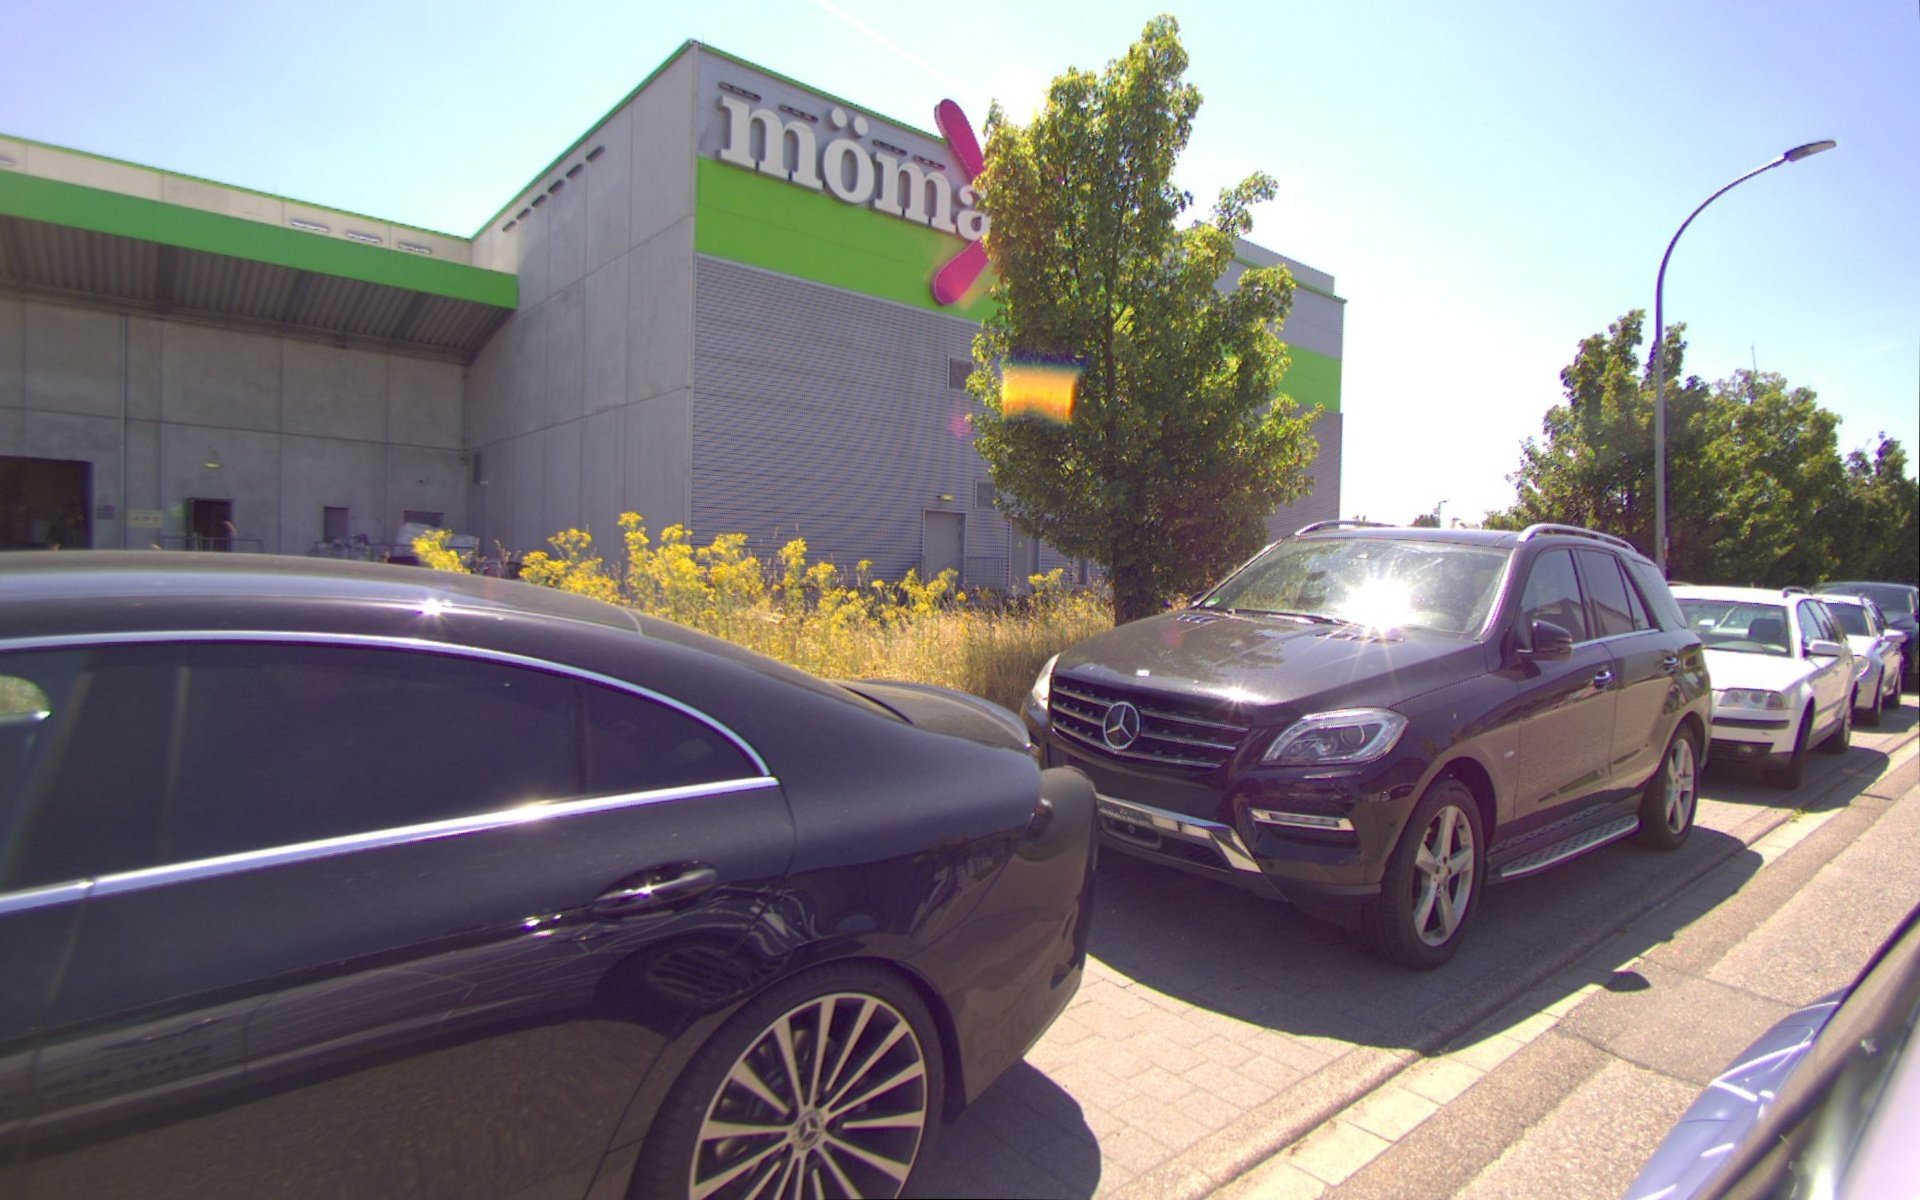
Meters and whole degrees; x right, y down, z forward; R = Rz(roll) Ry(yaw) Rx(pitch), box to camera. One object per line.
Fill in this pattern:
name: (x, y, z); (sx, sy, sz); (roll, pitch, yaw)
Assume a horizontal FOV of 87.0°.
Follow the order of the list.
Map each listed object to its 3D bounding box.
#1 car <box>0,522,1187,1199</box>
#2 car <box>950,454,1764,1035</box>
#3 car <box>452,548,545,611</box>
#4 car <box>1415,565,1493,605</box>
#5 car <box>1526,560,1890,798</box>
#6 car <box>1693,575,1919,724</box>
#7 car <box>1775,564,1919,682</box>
car: (-1.802, 0.578, 1.720); (4.752, 1.400, 1.702); (-1, 4, -40)
car: (2.362, 0.383, 5.231); (4.688, 1.746, 1.816); (0, 4, -40)
car: (-12.295, -0.581, 26.865); (1.521, 1.552, 3.398); (0, 3, -37)
car: (25.731, -0.760, 52.666); (4.323, 1.808, 1.998); (2, 1, -41)
car: (6.752, 0.494, 8.906); (4.694, 1.500, 1.716); (0, 4, -44)
car: (11.114, 0.504, 13.043); (4.694, 1.500, 1.807); (0, 4, -44)
car: (15.919, 0.337, 17.483); (4.464, 1.721, 1.954); (0, 4, -40)
